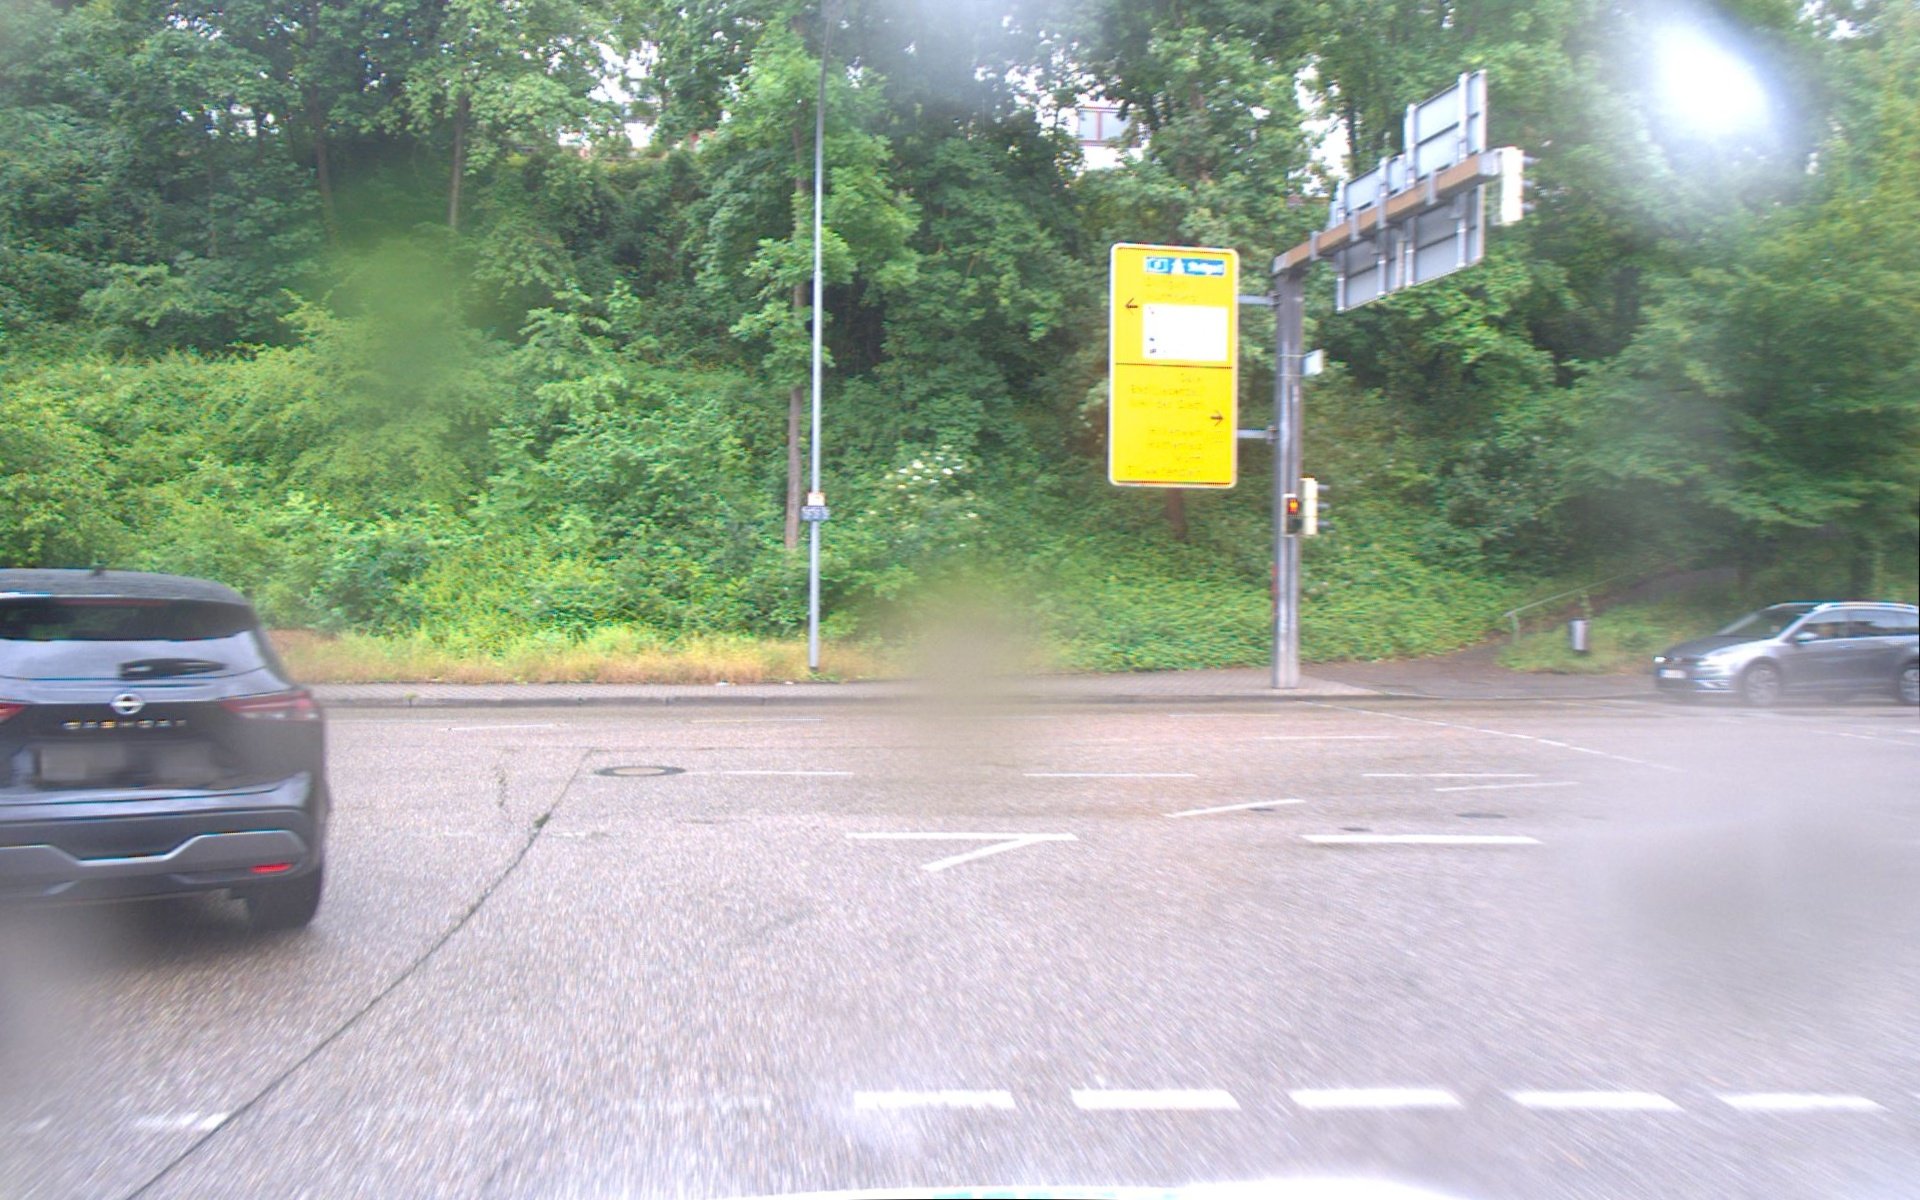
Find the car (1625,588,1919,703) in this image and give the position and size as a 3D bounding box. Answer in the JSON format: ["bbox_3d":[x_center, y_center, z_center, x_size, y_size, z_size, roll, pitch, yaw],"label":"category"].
[{"bbox_3d":[12.303,0.625,24.455,4.245,1.528,1.879,-1,1,-10],"label":"car"}]

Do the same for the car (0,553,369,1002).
[{"bbox_3d":[-4.282,0.635,7.887,1.796,1.631,3.950,0,0,-35],"label":"car"}]
